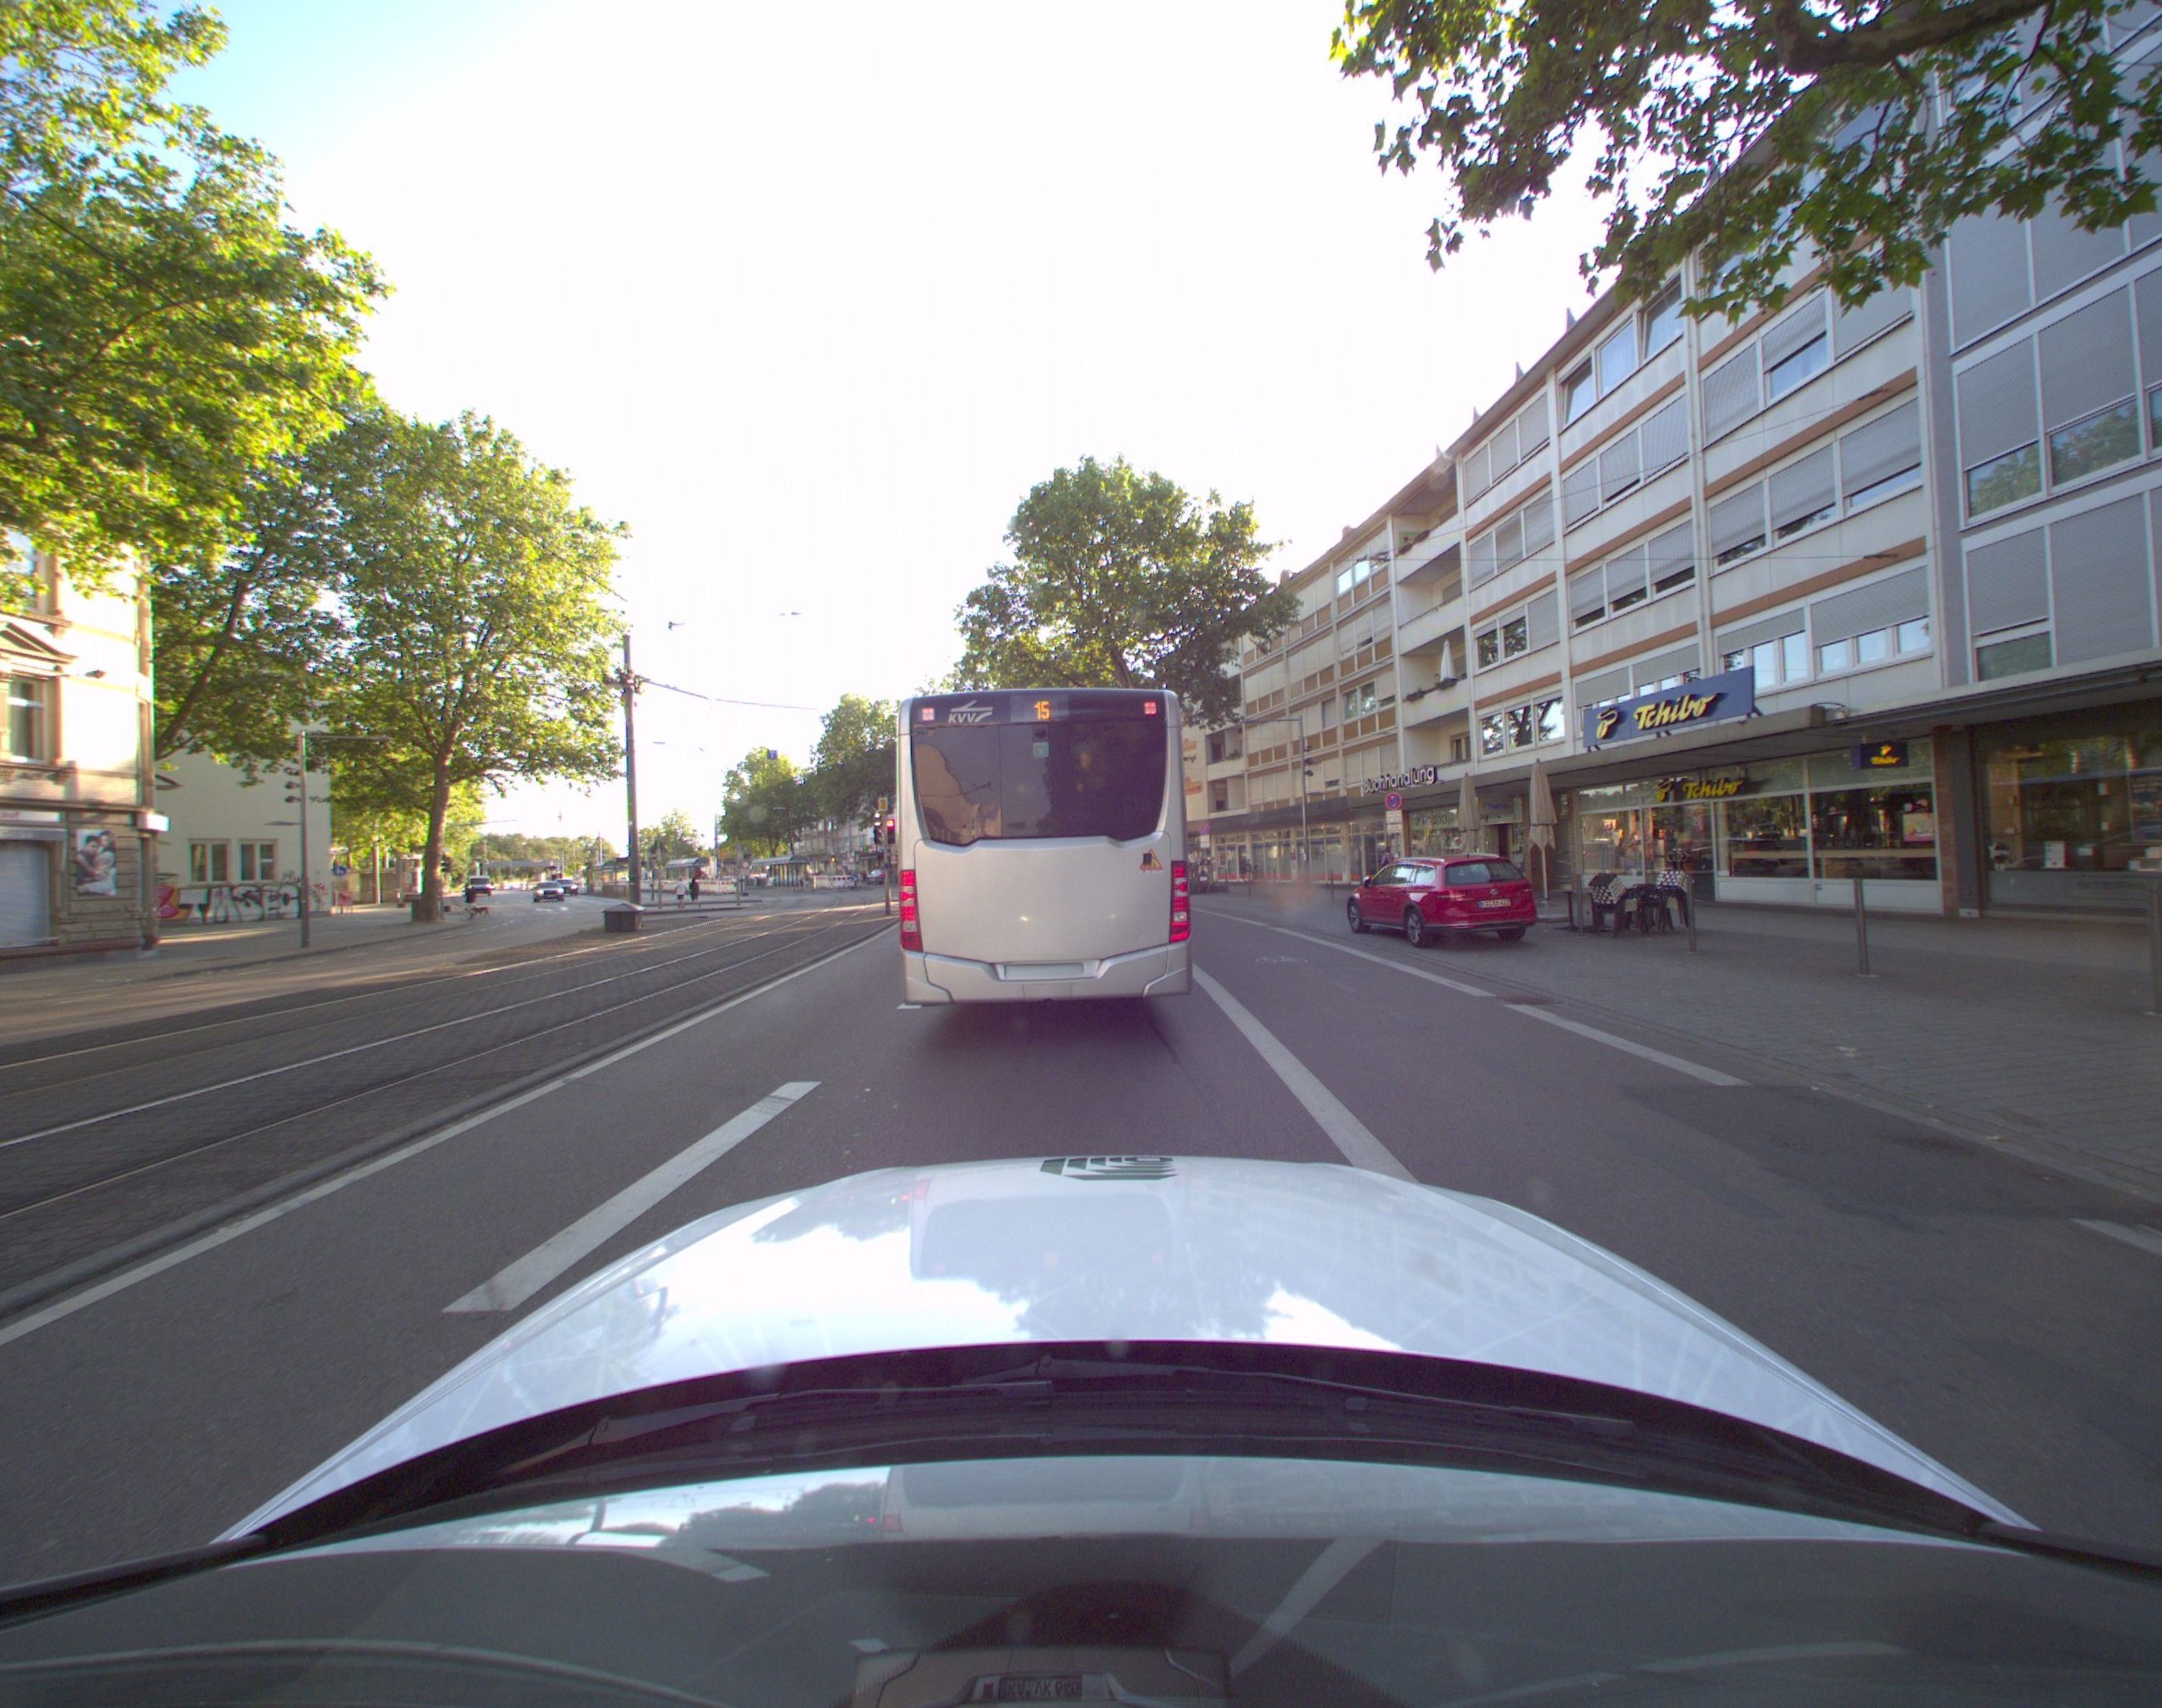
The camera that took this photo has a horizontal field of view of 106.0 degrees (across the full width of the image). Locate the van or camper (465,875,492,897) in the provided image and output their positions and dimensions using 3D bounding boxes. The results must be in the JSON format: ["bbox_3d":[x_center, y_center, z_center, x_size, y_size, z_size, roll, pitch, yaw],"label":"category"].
[{"bbox_3d":[-67.510,3.568,91.276,2.184,2.319,5.048,-4,0,-35],"label":"van or camper"}]

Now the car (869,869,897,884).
[{"bbox_3d":[-21.376,2.435,87.704,1.675,1.468,3.375,-5,2,-36],"label":"car"}]

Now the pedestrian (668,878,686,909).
[{"bbox_3d":[-19.765,1.936,39.842,0.516,1.504,0.596,-2,-1,19],"label":"pedestrian"}]

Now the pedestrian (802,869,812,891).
[{"bbox_3d":[-21.787,2.073,64.805,0.722,1.725,0.397,-2,-1,-19],"label":"pedestrian"}]

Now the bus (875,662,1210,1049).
[{"bbox_3d":[-0.346,0.084,11.818,2.650,3.099,10.212,-2,-1,0],"label":"bus"}]

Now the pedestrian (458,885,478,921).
[{"bbox_3d":[-30.240,2.416,40.201,0.426,1.710,0.681,-1,-1,34],"label":"pedestrian"}]

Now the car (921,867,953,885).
[{"bbox_3d":[-13.658,2.076,77.123,1.675,1.516,3.376,-5,2,-35],"label":"car"}]

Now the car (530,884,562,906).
[{"bbox_3d":[-39.936,3.035,60.746,1.900,1.472,4.161,-1,-1,-35],"label":"car"}]

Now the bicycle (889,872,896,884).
[{"bbox_3d":[-19.552,2.479,84.554,0.508,1.211,2.079,-2,-1,-19],"label":"bicycle"}]

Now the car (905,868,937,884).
[{"bbox_3d":[-15.855,2.218,80.498,1.675,1.394,3.374,-5,2,-37],"label":"car"}]

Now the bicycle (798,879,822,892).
[{"bbox_3d":[-21.729,2.494,65.304,1.846,0.942,0.460,-2,-1,-20],"label":"bicycle"}]

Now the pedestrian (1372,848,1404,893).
[{"bbox_3d":[10.725,0.570,28.453,0.640,1.552,0.804,-2,-1,-12],"label":"pedestrian"}]

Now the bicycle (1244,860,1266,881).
[{"bbox_3d":[9.431,0.923,44.298,0.438,1.092,1.453,-4,0,-17],"label":"bicycle"}]

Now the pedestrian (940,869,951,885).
[{"bbox_3d":[-11.546,1.963,69.438,0.779,1.304,0.590,-2,-1,-19],"label":"pedestrian"}]

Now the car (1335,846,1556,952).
[{"bbox_3d":[6.363,0.721,14.888,1.774,1.496,4.563,-4,-1,-2],"label":"car"}]

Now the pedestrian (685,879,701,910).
[{"bbox_3d":[-19.290,1.994,40.476,0.405,1.504,0.519,-2,-1,17],"label":"pedestrian"}]

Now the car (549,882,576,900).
[{"bbox_3d":[-49.718,3.555,78.026,1.901,1.585,4.160,-2,-1,-36],"label":"car"}]
